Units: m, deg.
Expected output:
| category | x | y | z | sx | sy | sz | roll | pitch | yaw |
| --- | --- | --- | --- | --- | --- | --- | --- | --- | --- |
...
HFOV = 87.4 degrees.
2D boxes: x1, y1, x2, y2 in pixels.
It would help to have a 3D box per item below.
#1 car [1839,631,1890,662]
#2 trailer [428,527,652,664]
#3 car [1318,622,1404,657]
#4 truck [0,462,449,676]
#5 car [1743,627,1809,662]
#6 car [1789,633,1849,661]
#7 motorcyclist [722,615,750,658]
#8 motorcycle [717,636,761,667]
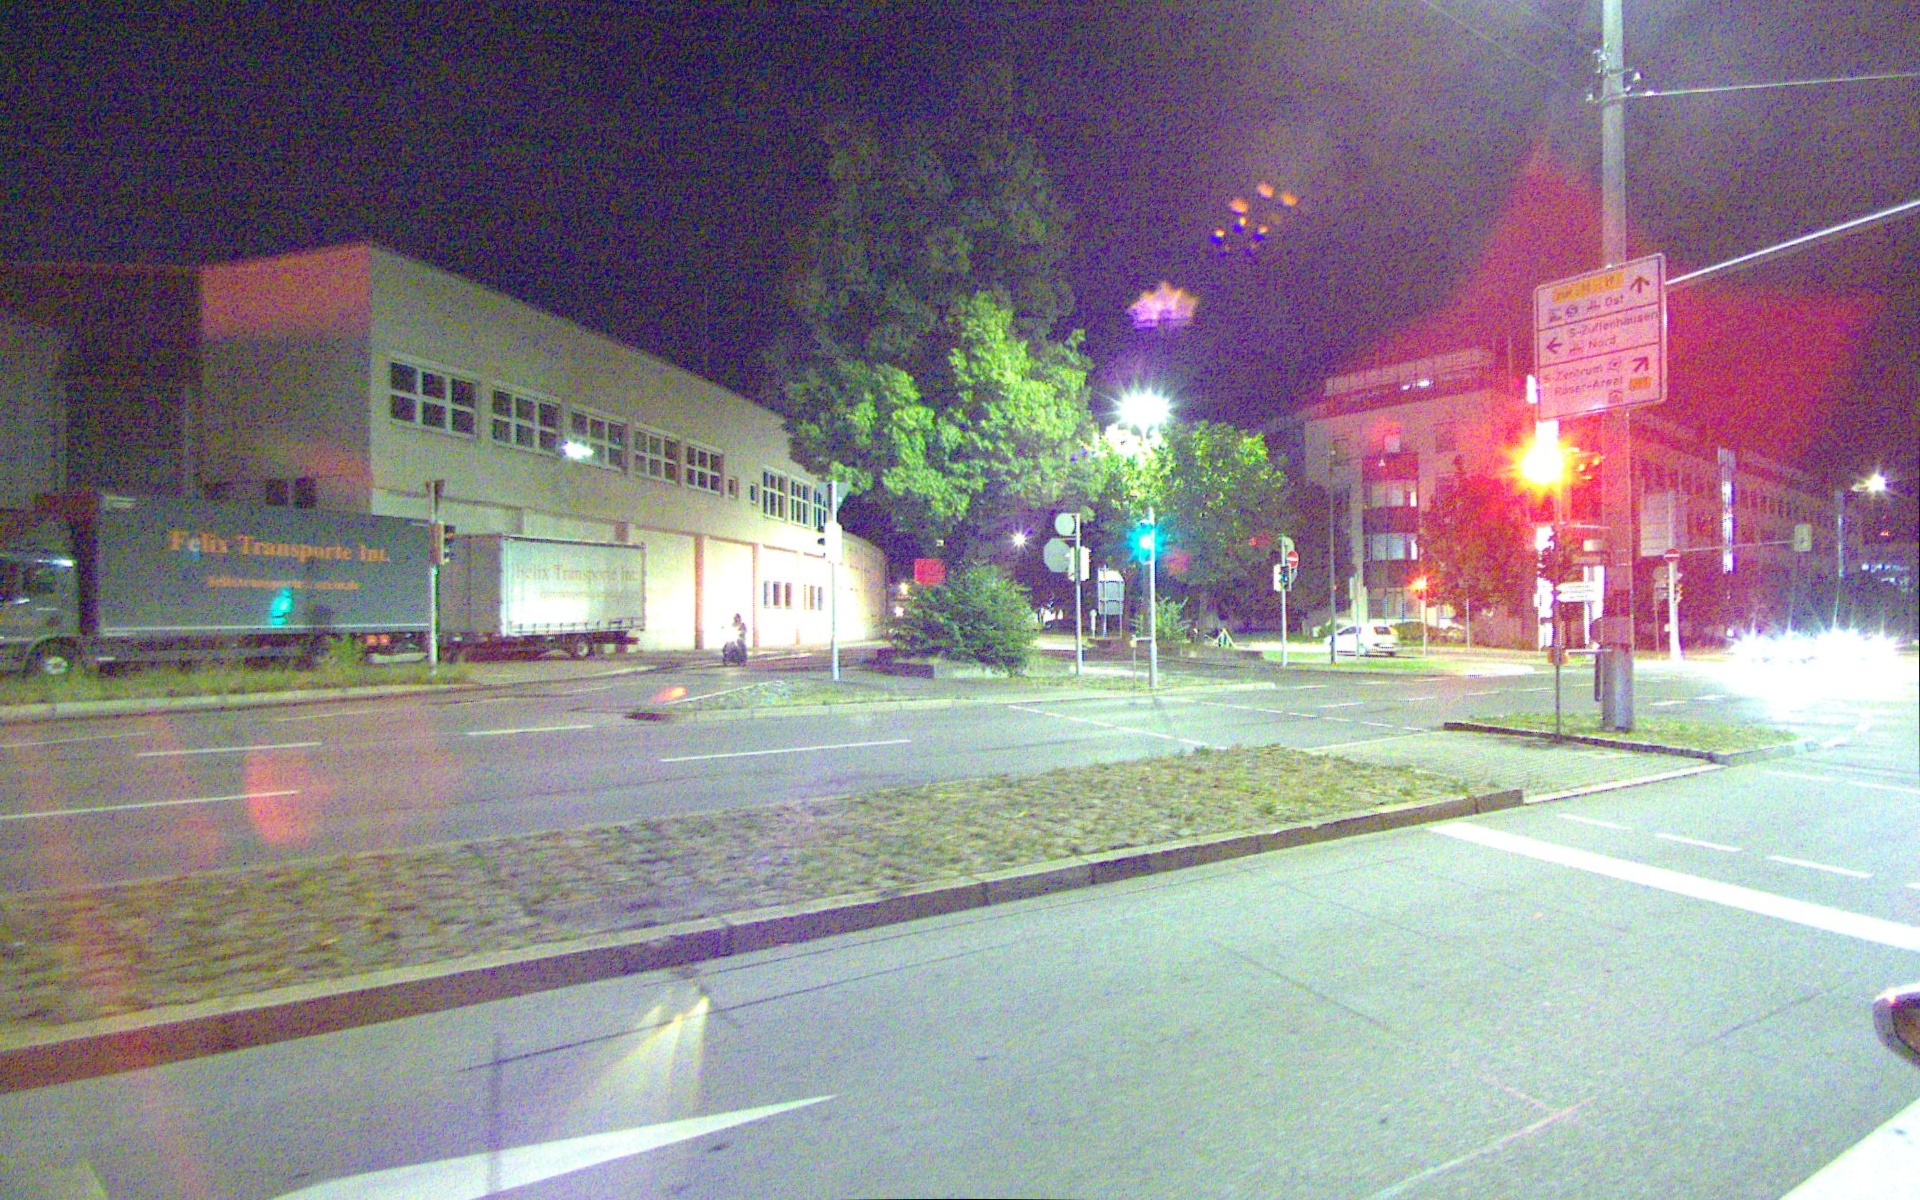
| category | x | y | z | sx | sy | sz | roll | pitch | yaw |
| --- | --- | --- | --- | --- | --- | --- | --- | --- | --- |
| car | 53.516 | 2.730 | 59.403 | 3.518 | 1.750 | 1.744 | 2 | -2 | -39 |
| trailer | -12.993 | -0.041 | 31.739 | 2.571 | 3.841 | 6.512 | 1 | -1 | 23 |
| car | 18.606 | 1.797 | 46.791 | 1.680 | 1.511 | 3.989 | 2 | -1 | -14 |
| truck | -16.785 | -0.423 | 22.688 | 2.892 | 3.846 | 9.551 | 1 | -2 | 25 |
| car | 37.884 | 2.063 | 46.627 | 3.966 | 1.535 | 1.603 | 2 | -2 | -39 |
| car | 43.812 | 2.412 | 51.241 | 3.518 | 1.339 | 1.744 | 2 | -2 | -39 |
| motorcyclist | -6.829 | 1.119 | 30.614 | 0.635 | 1.278 | 0.579 | 1 | -1 | 9 |
| motorcycle | -6.722 | 1.553 | 30.663 | 0.568 | 0.907 | 2.157 | -1 | -2 | 9 |
